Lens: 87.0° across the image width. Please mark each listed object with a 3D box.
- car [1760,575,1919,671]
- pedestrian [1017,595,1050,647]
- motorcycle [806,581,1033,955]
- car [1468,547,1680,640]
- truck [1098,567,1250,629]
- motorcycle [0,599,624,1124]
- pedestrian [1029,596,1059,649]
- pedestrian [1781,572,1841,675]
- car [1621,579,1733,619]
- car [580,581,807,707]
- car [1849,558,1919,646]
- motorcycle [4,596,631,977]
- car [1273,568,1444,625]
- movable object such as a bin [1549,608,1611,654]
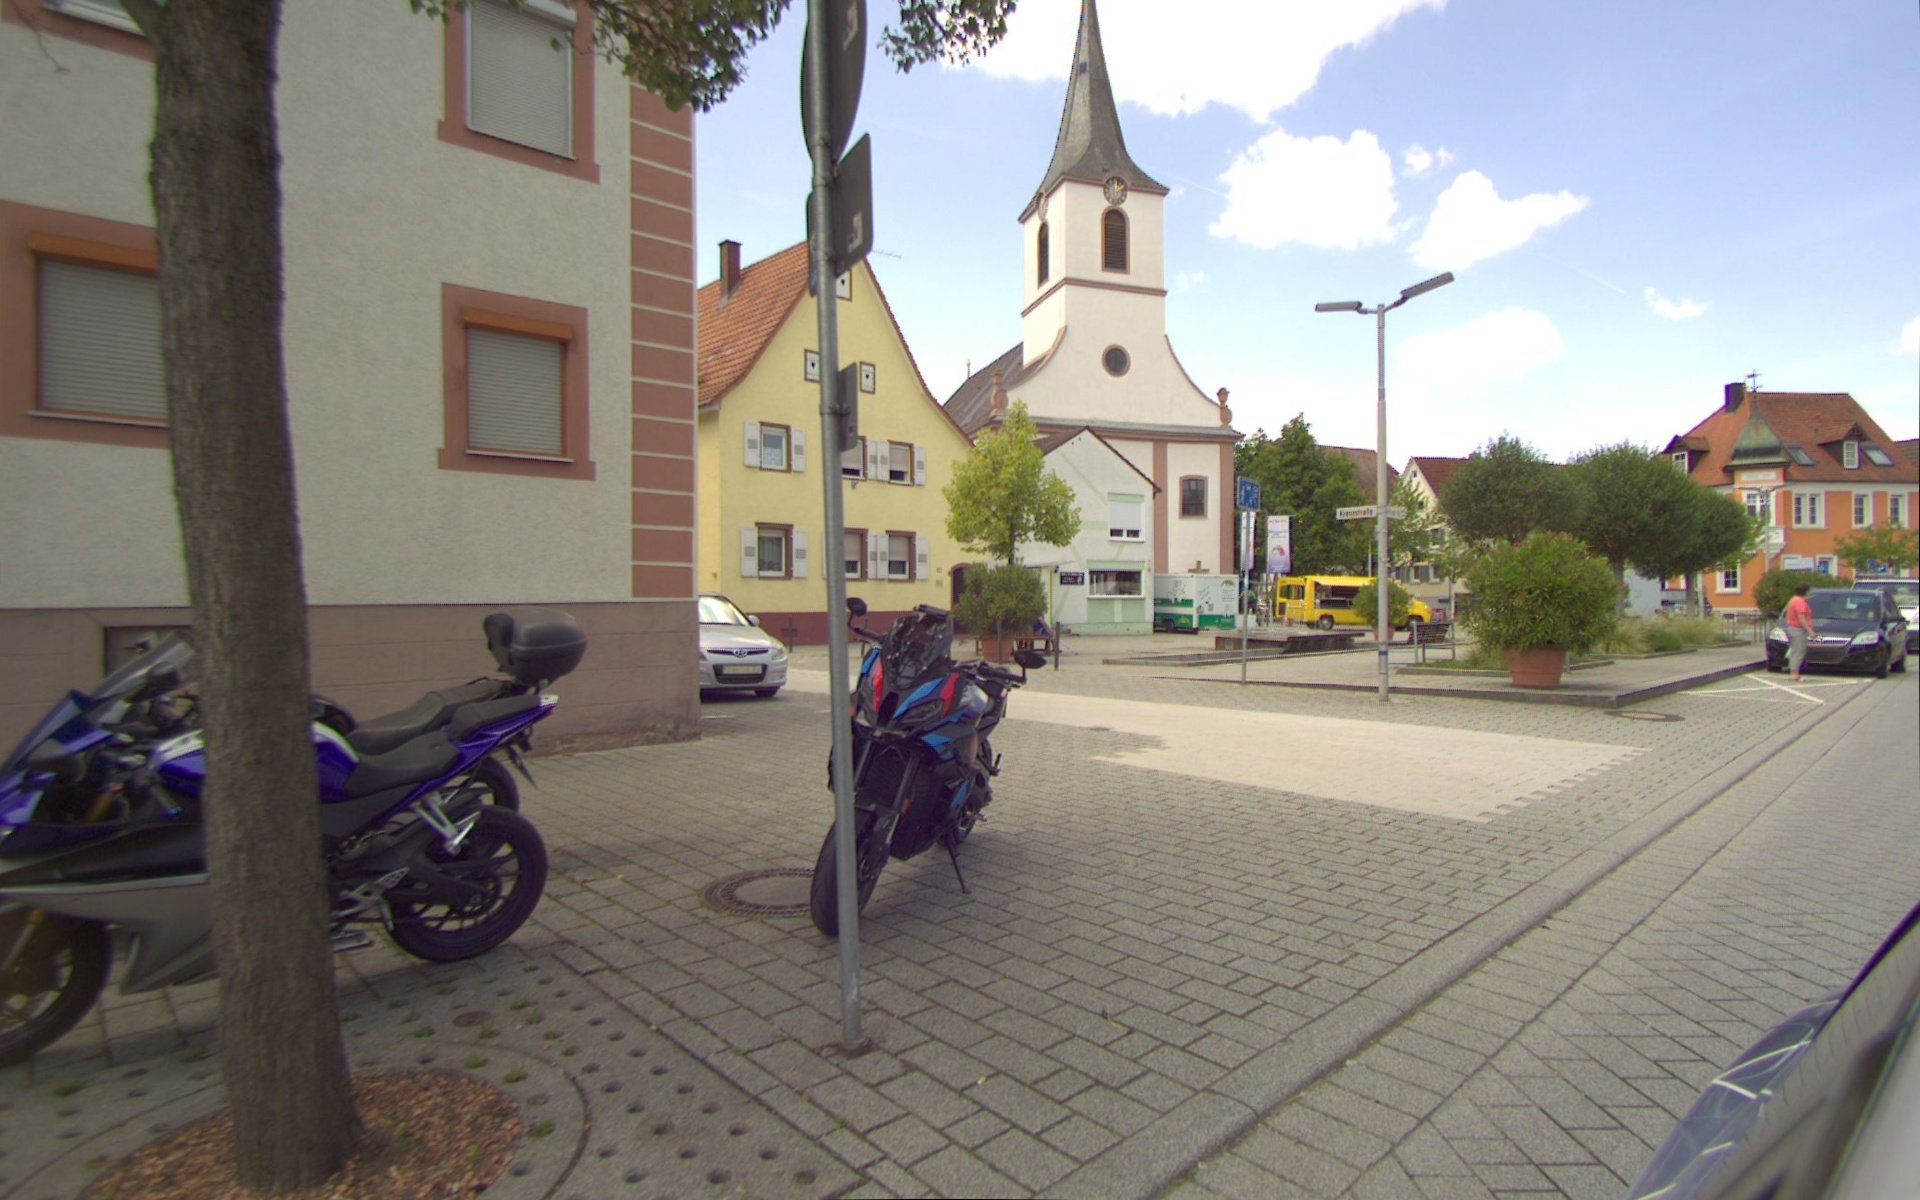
[{"bbox_3d":[16.762,0.359,19.035,4.339,1.584,1.773,0,2,-39],"label":"car"},{"bbox_3d":[1.875,0.531,25.807,0.775,1.300,0.537,-1,0,-1],"label":"pedestrian"},{"bbox_3d":[-0.122,0.634,4.960,0.856,1.412,2.224,0,0,2],"label":"motorcycle"},{"bbox_3d":[21.322,-0.290,35.136,6.966,3.000,2.767,-1,1,-23],"label":"car"},{"bbox_3d":[9.392,-0.051,45.235,2.898,2.529,6.831,0,0,-29],"label":"truck"},{"bbox_3d":[-2.248,0.675,3.310,0.628,1.314,2.150,0,1,42],"label":"motorcycle"},{"bbox_3d":[2.083,0.550,25.198,0.659,1.300,0.614,-1,0,-1],"label":"pedestrian"},{"bbox_3d":[14.082,0.377,16.746,0.609,1.649,0.640,0,-1,-38],"label":"pedestrian"},{"bbox_3d":[37.638,-0.068,53.098,5.379,2.039,2.004,0,-1,-19],"label":"car"},{"bbox_3d":[-3.842,0.517,14.120,1.791,1.492,4.005,0,0,-35],"label":"car"},{"bbox_3d":[25.721,0.013,27.287,5.011,2.204,1.946,0,1,-41],"label":"car"},{"bbox_3d":[-2.729,0.658,4.586,2.182,1.314,0.963,0,1,-33],"label":"motorcycle"},{"bbox_3d":[18.351,-0.161,46.974,6.843,2.509,2.649,0,0,6],"label":"car"},{"bbox_3d":[12.641,0.619,20.632,1.412,0.877,0.735,-1,-1,-44],"label":"movable object such as a bin"}]
